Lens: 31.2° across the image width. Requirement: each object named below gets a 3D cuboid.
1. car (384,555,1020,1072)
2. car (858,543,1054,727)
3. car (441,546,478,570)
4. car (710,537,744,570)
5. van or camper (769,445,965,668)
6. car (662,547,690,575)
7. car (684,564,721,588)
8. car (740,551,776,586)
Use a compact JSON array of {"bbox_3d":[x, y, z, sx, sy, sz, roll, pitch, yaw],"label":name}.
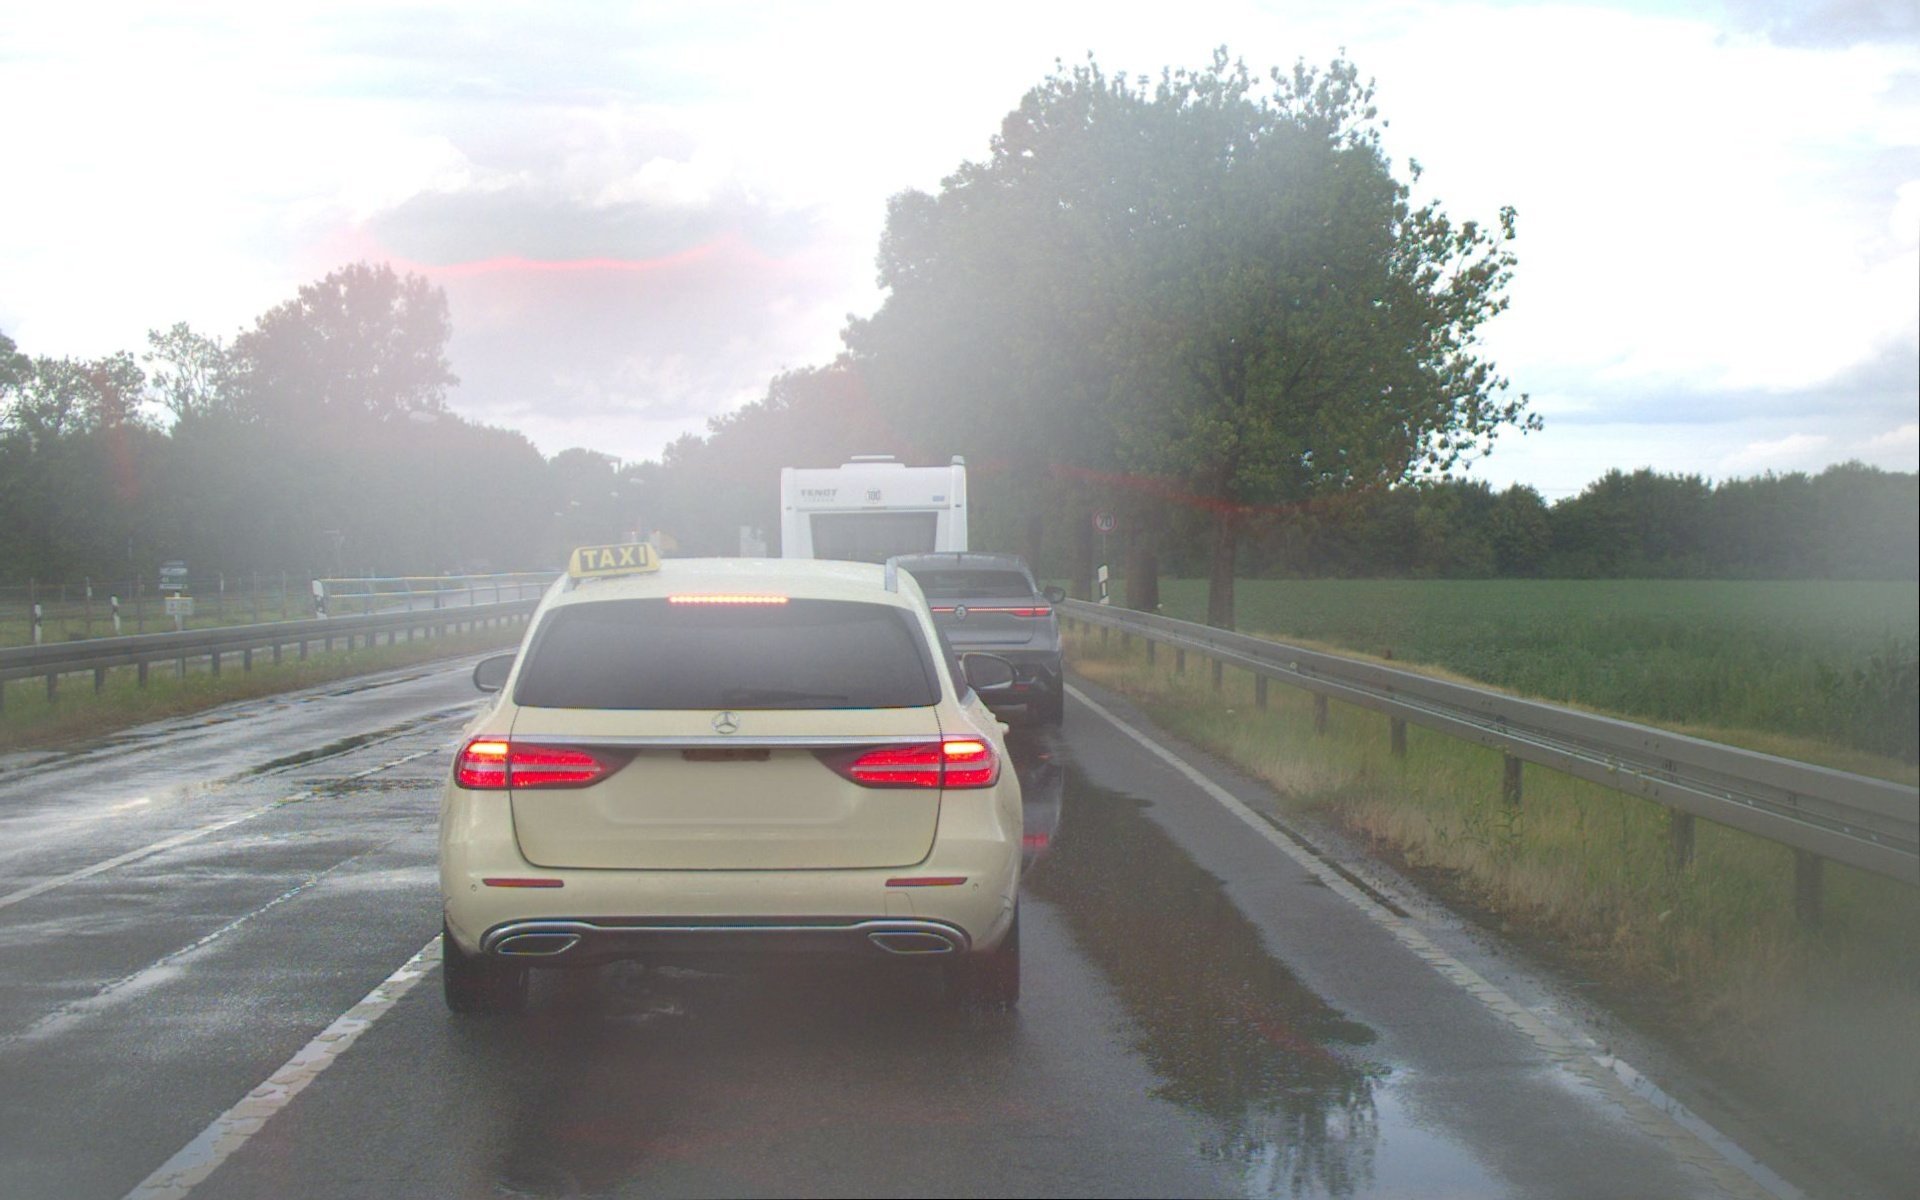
[{"bbox_3d":[-0.718,0.590,11.959,1.825,1.480,4.145,0,1,1],"label":"car"},{"bbox_3d":[-0.048,0.258,30.659,1.627,1.524,3.933,0,1,0],"label":"car"},{"bbox_3d":[-34.991,-2.957,240.474,1.993,1.645,4.000,0,1,1],"label":"car"},{"bbox_3d":[-14.518,-2.888,214.381,1.993,2.007,4.001,0,1,-3],"label":"car"},{"bbox_3d":[-1.133,-0.580,44.133,2.350,2.671,5.769,0,1,0],"label":"van or camper"},{"bbox_3d":[-21.166,-2.916,255.792,1.993,2.007,4.001,0,1,-6],"label":"car"},{"bbox_3d":[-14.203,-1.337,189.644,1.758,1.265,4.000,0,1,0],"label":"car"},{"bbox_3d":[-11.797,-1.835,200.310,1.993,2.044,4.001,0,1,-5],"label":"car"}]
